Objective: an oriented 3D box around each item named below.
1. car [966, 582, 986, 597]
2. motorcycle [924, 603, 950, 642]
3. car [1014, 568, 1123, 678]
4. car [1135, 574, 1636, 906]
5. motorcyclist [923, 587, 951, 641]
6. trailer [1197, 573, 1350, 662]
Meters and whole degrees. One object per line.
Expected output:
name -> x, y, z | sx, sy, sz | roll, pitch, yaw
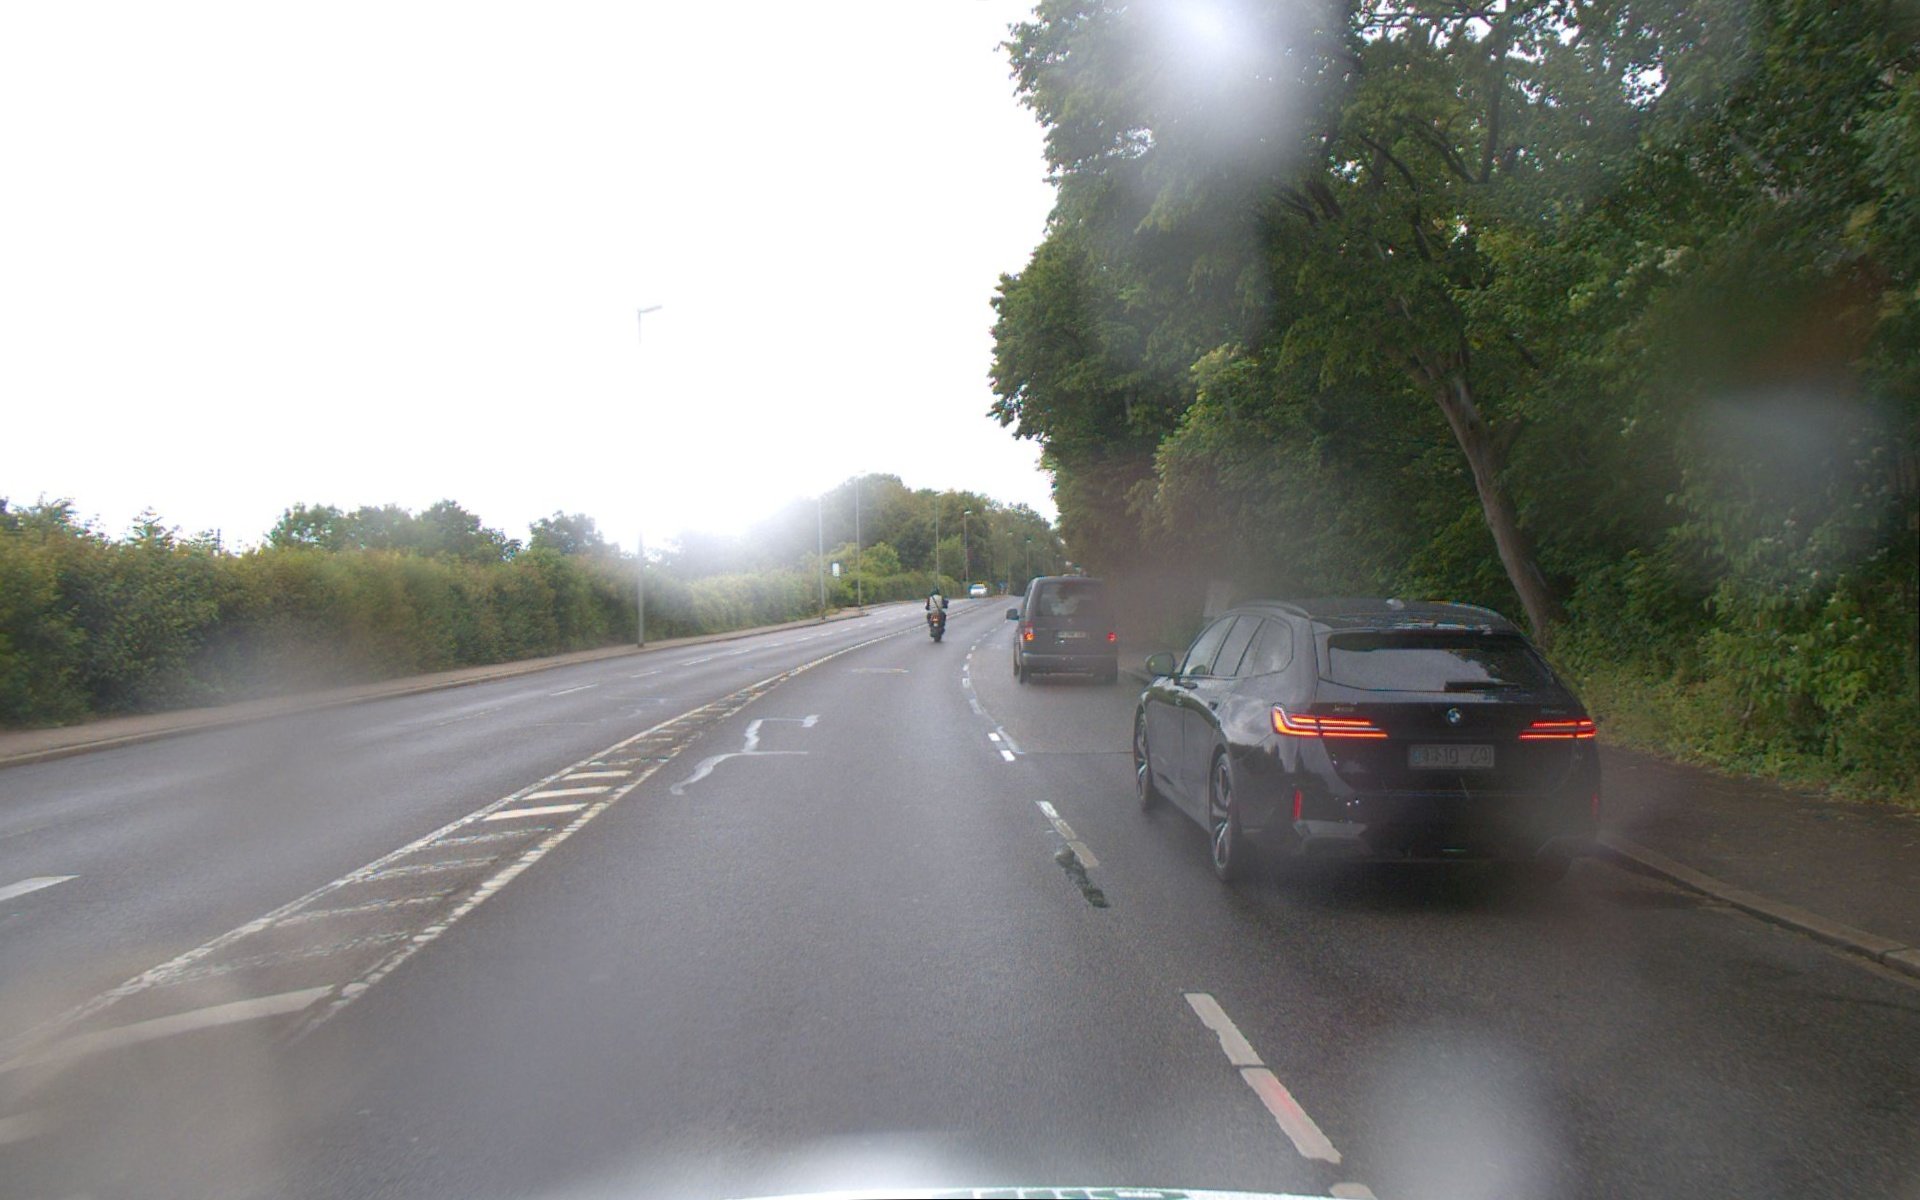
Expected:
car -> 1.755, -1.181, 185.792 | 1.716, 1.691, 3.848 | 0, 1, -8
motorcycle -> -0.718, 0.695, 51.823 | 0.726, 1.139, 1.427 | 0, 2, 3
car -> 1.885, 0.353, 29.768 | 1.730, 1.841, 3.906 | 0, 1, 1
car -> 2.235, 0.671, 9.717 | 1.730, 1.563, 3.669 | 1, 0, -5
motorcyclist -> -0.715, 0.442, 51.800 | 0.827, 1.675, 0.468 | -1, 1, 2
trailer -> 7.476, 0.405, 39.555 | 3.281, 1.675, 1.199 | 7, 1, 1
